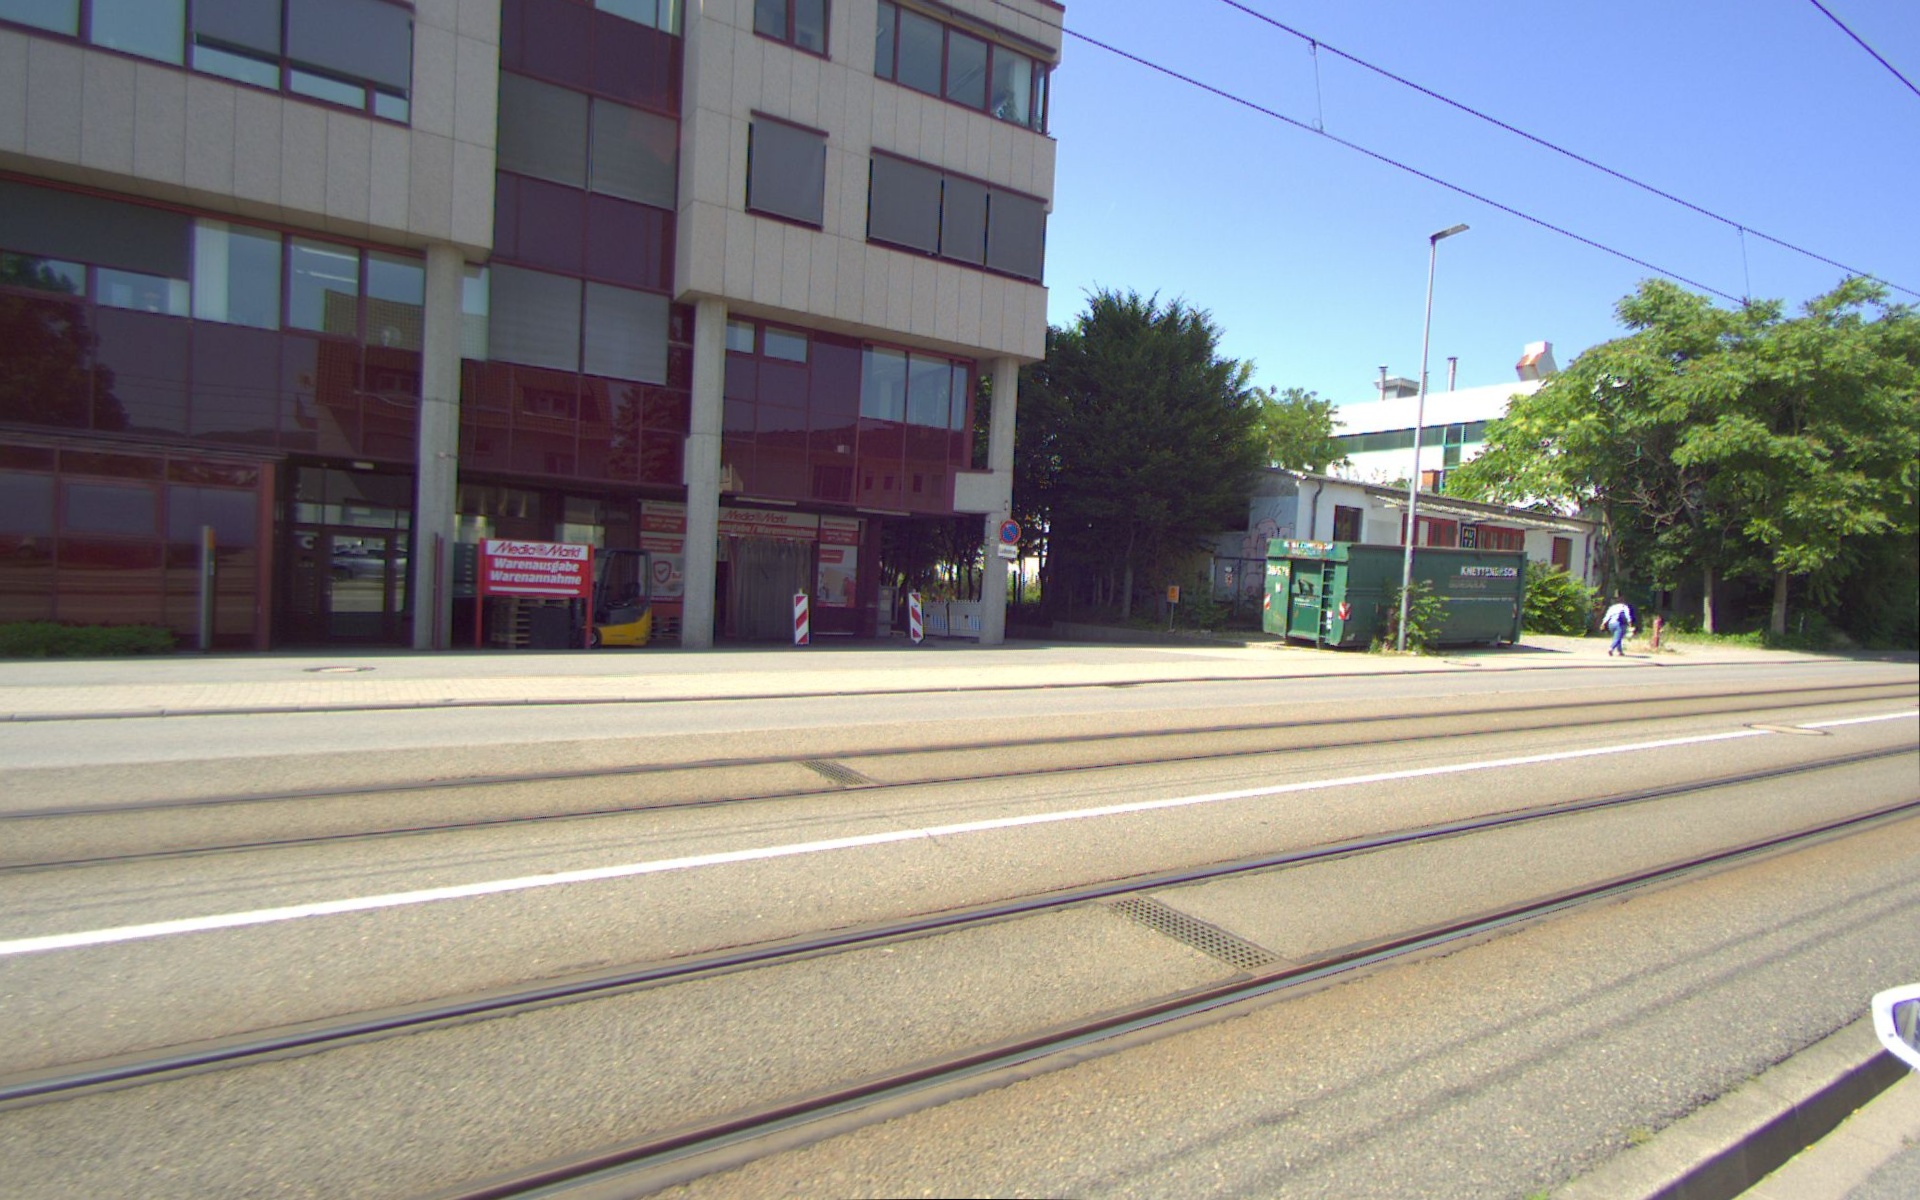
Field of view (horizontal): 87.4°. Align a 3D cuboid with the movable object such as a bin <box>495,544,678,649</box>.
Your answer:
[{"bbox_3d":[-7.897,-0.068,21.321,1.973,2.040,3.064,3,1,44],"label":"movable object such as a bin"}]

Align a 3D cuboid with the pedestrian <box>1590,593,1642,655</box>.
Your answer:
[{"bbox_3d":[17.187,0.624,26.323,0.829,1.558,0.830,1,2,-32],"label":"pedestrian"}]
